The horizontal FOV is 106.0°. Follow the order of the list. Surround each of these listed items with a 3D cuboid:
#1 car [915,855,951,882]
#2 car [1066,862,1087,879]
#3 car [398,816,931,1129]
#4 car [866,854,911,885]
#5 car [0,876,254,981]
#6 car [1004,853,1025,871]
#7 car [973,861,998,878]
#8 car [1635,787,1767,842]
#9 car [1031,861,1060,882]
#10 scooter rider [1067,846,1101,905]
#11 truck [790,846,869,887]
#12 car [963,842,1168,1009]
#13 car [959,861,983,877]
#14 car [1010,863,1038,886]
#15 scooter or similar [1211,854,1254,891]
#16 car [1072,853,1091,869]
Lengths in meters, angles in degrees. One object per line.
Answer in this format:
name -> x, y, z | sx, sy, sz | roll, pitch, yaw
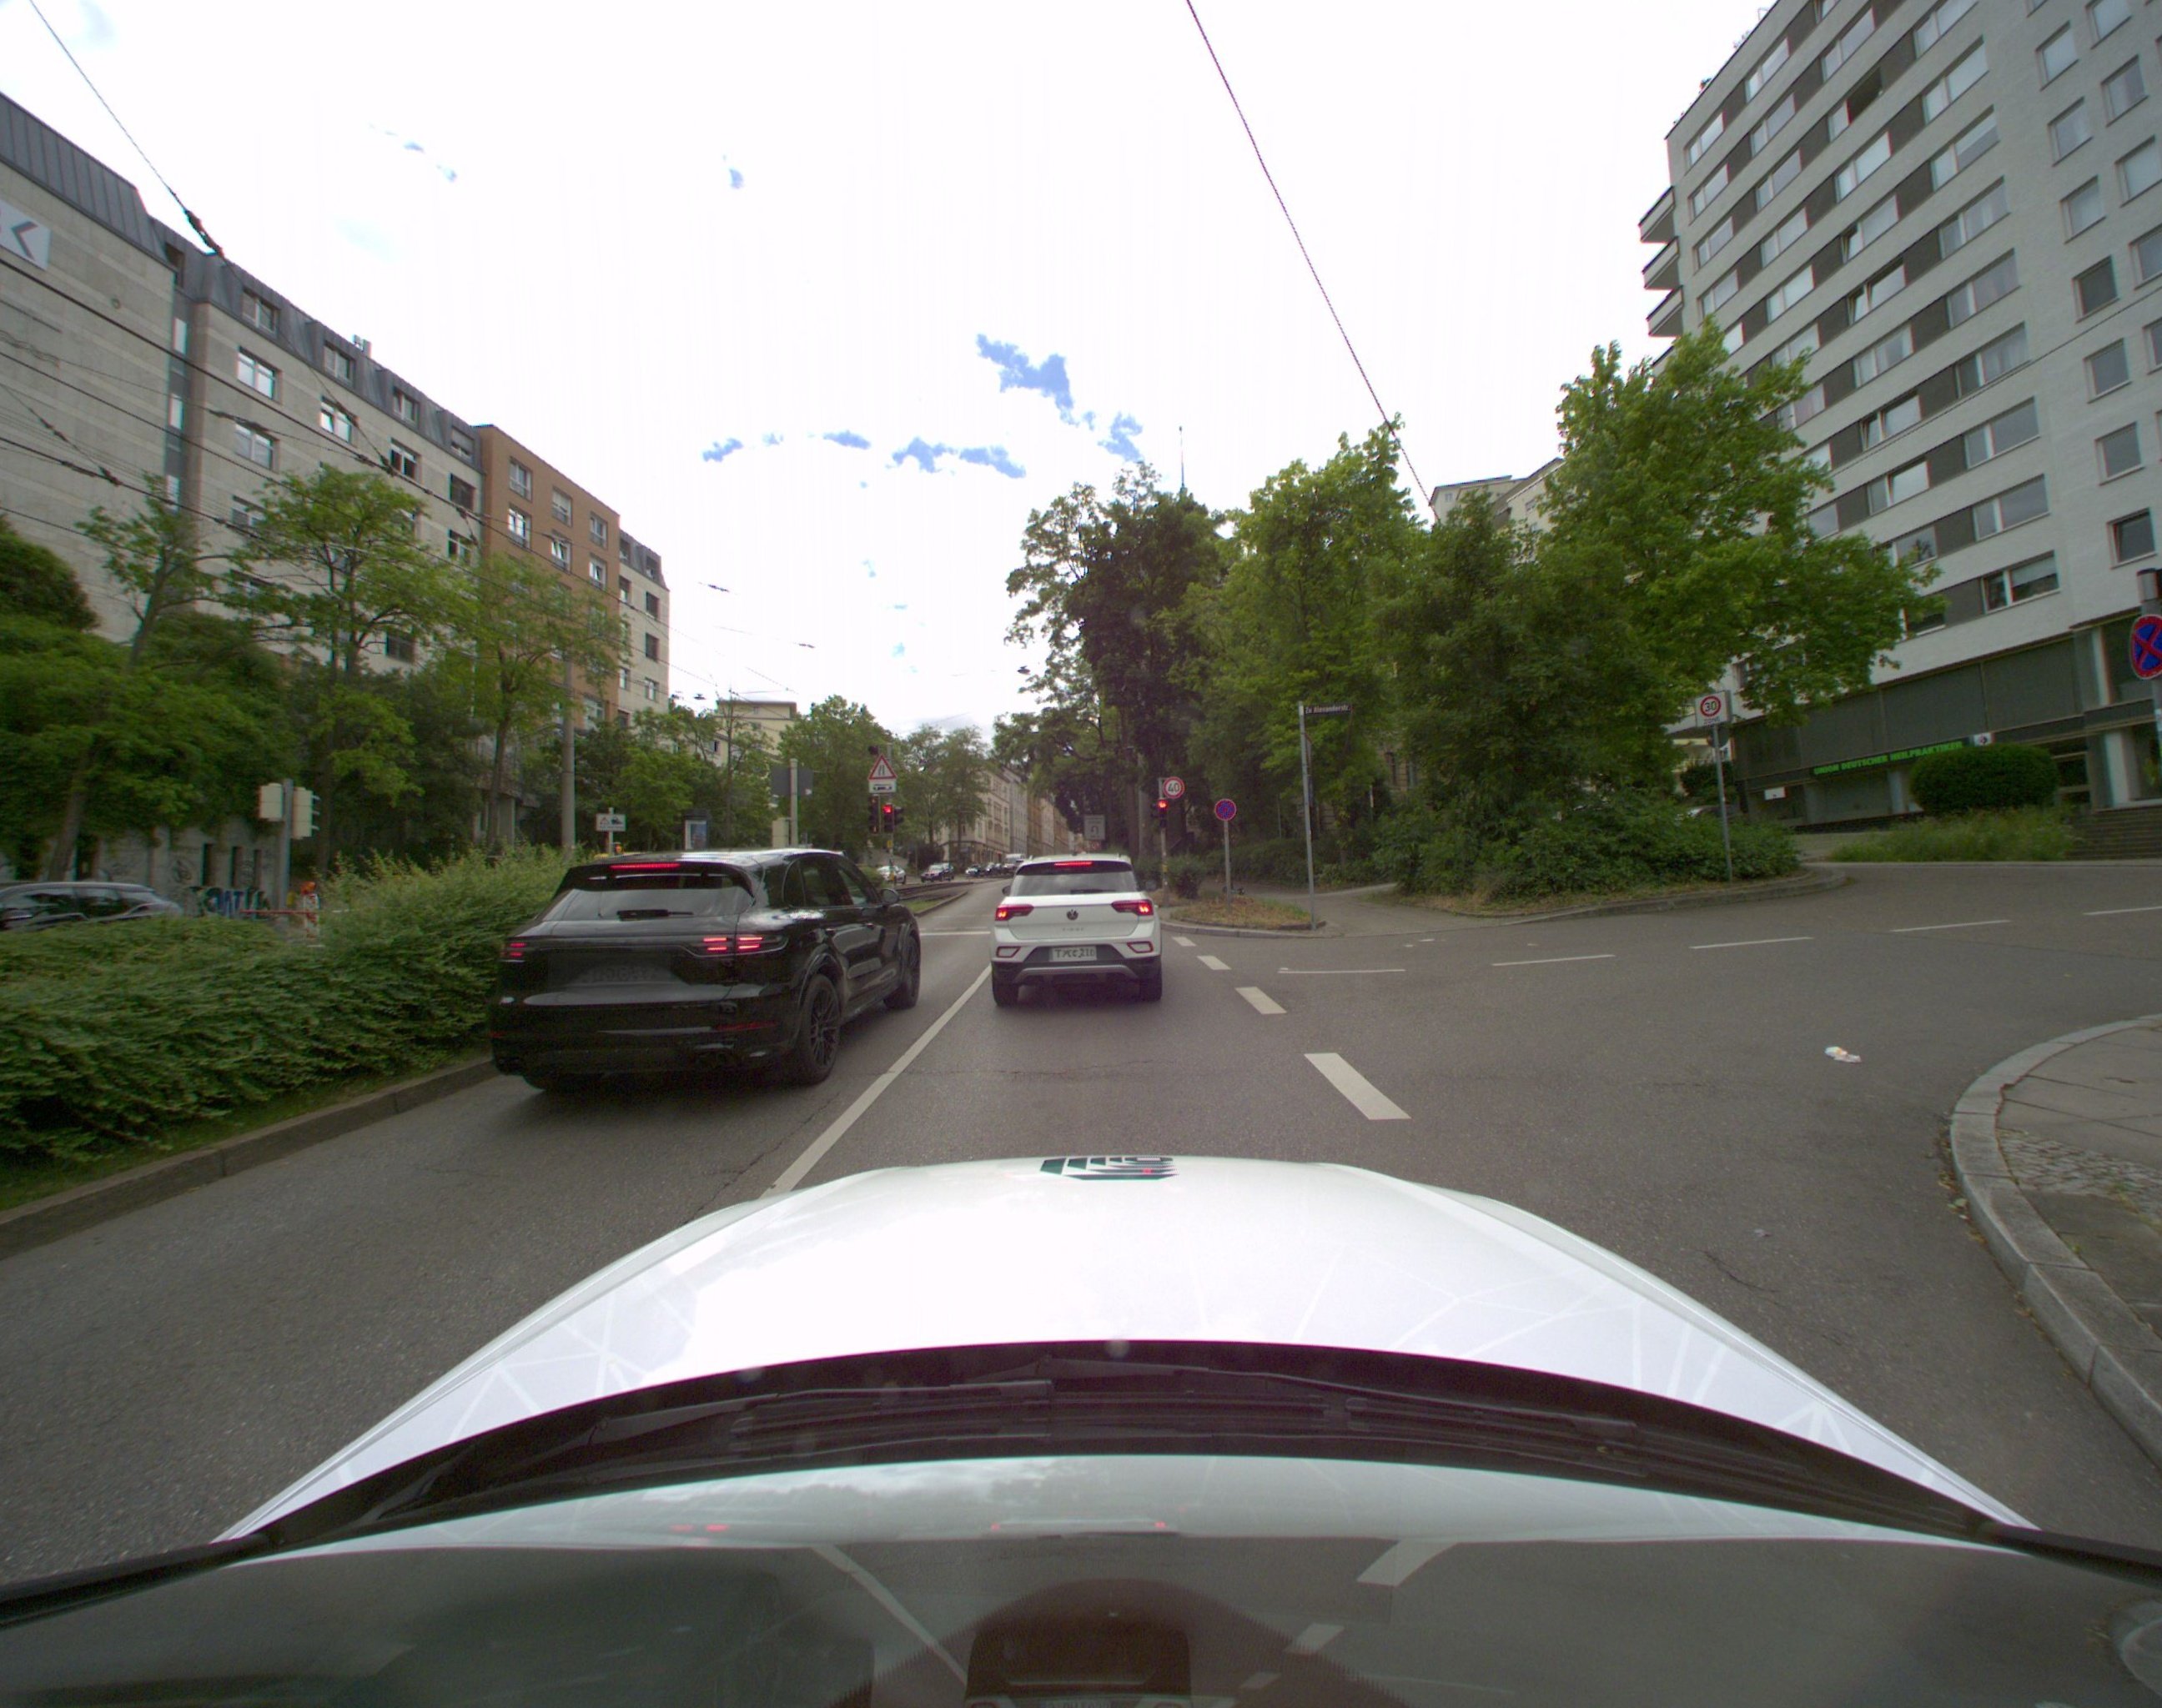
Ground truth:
car -> -11.861, 1.222, 65.627 | 1.986, 2.014, 4.000 | 1, -3, 2
car -> -0.410, 1.759, 84.115 | 1.986, 1.623, 4.000 | 1, -3, 2
car -> -2.756, 0.735, 6.924 | 2.021, 1.685, 4.780 | -1, -2, 0
car -> -13.336, 1.119, 56.724 | 1.985, 2.014, 4.002 | 1, -3, 3
car -> -15.555, 1.075, 12.447 | 1.735, 1.322, 4.063 | -1, 0, -2
car -> -8.141, 0.983, 100.086 | 1.986, 2.013, 4.001 | -3, -1, 2
car -> -9.969, 1.662, 84.969 | 1.986, 1.623, 4.000 | 1, -3, 2
car -> 25.866, -1.636, 34.060 | 4.124, 2.014, 1.996 | -2, -1, -6
car -> -2.719, 1.407, 63.849 | 1.895, 1.574, 3.836 | 1, -3, 3
scooter rider -> 0.092, 0.568, 22.207 | 0.772, 1.558, 0.534 | -3, -1, 11
truck -> -14.300, 0.742, 46.767 | 2.413, 2.170, 6.035 | 1, -2, 2
car -> -0.113, 0.713, 9.803 | 1.931, 1.566, 4.046 | -1, -1, 1
car -> -12.229, 1.681, 90.842 | 1.986, 1.623, 4.000 | 1, -3, 2
car -> -4.781, 1.746, 68.634 | 1.831, 1.740, 4.002 | -1, -5, 3
scooter or similar -> 4.654, 0.573, 25.027 | 0.477, 1.100, 1.355 | -2, -1, -30
car -> 0.115, 1.019, 119.856 | 2.413, 2.169, 6.035 | -3, 0, 2
